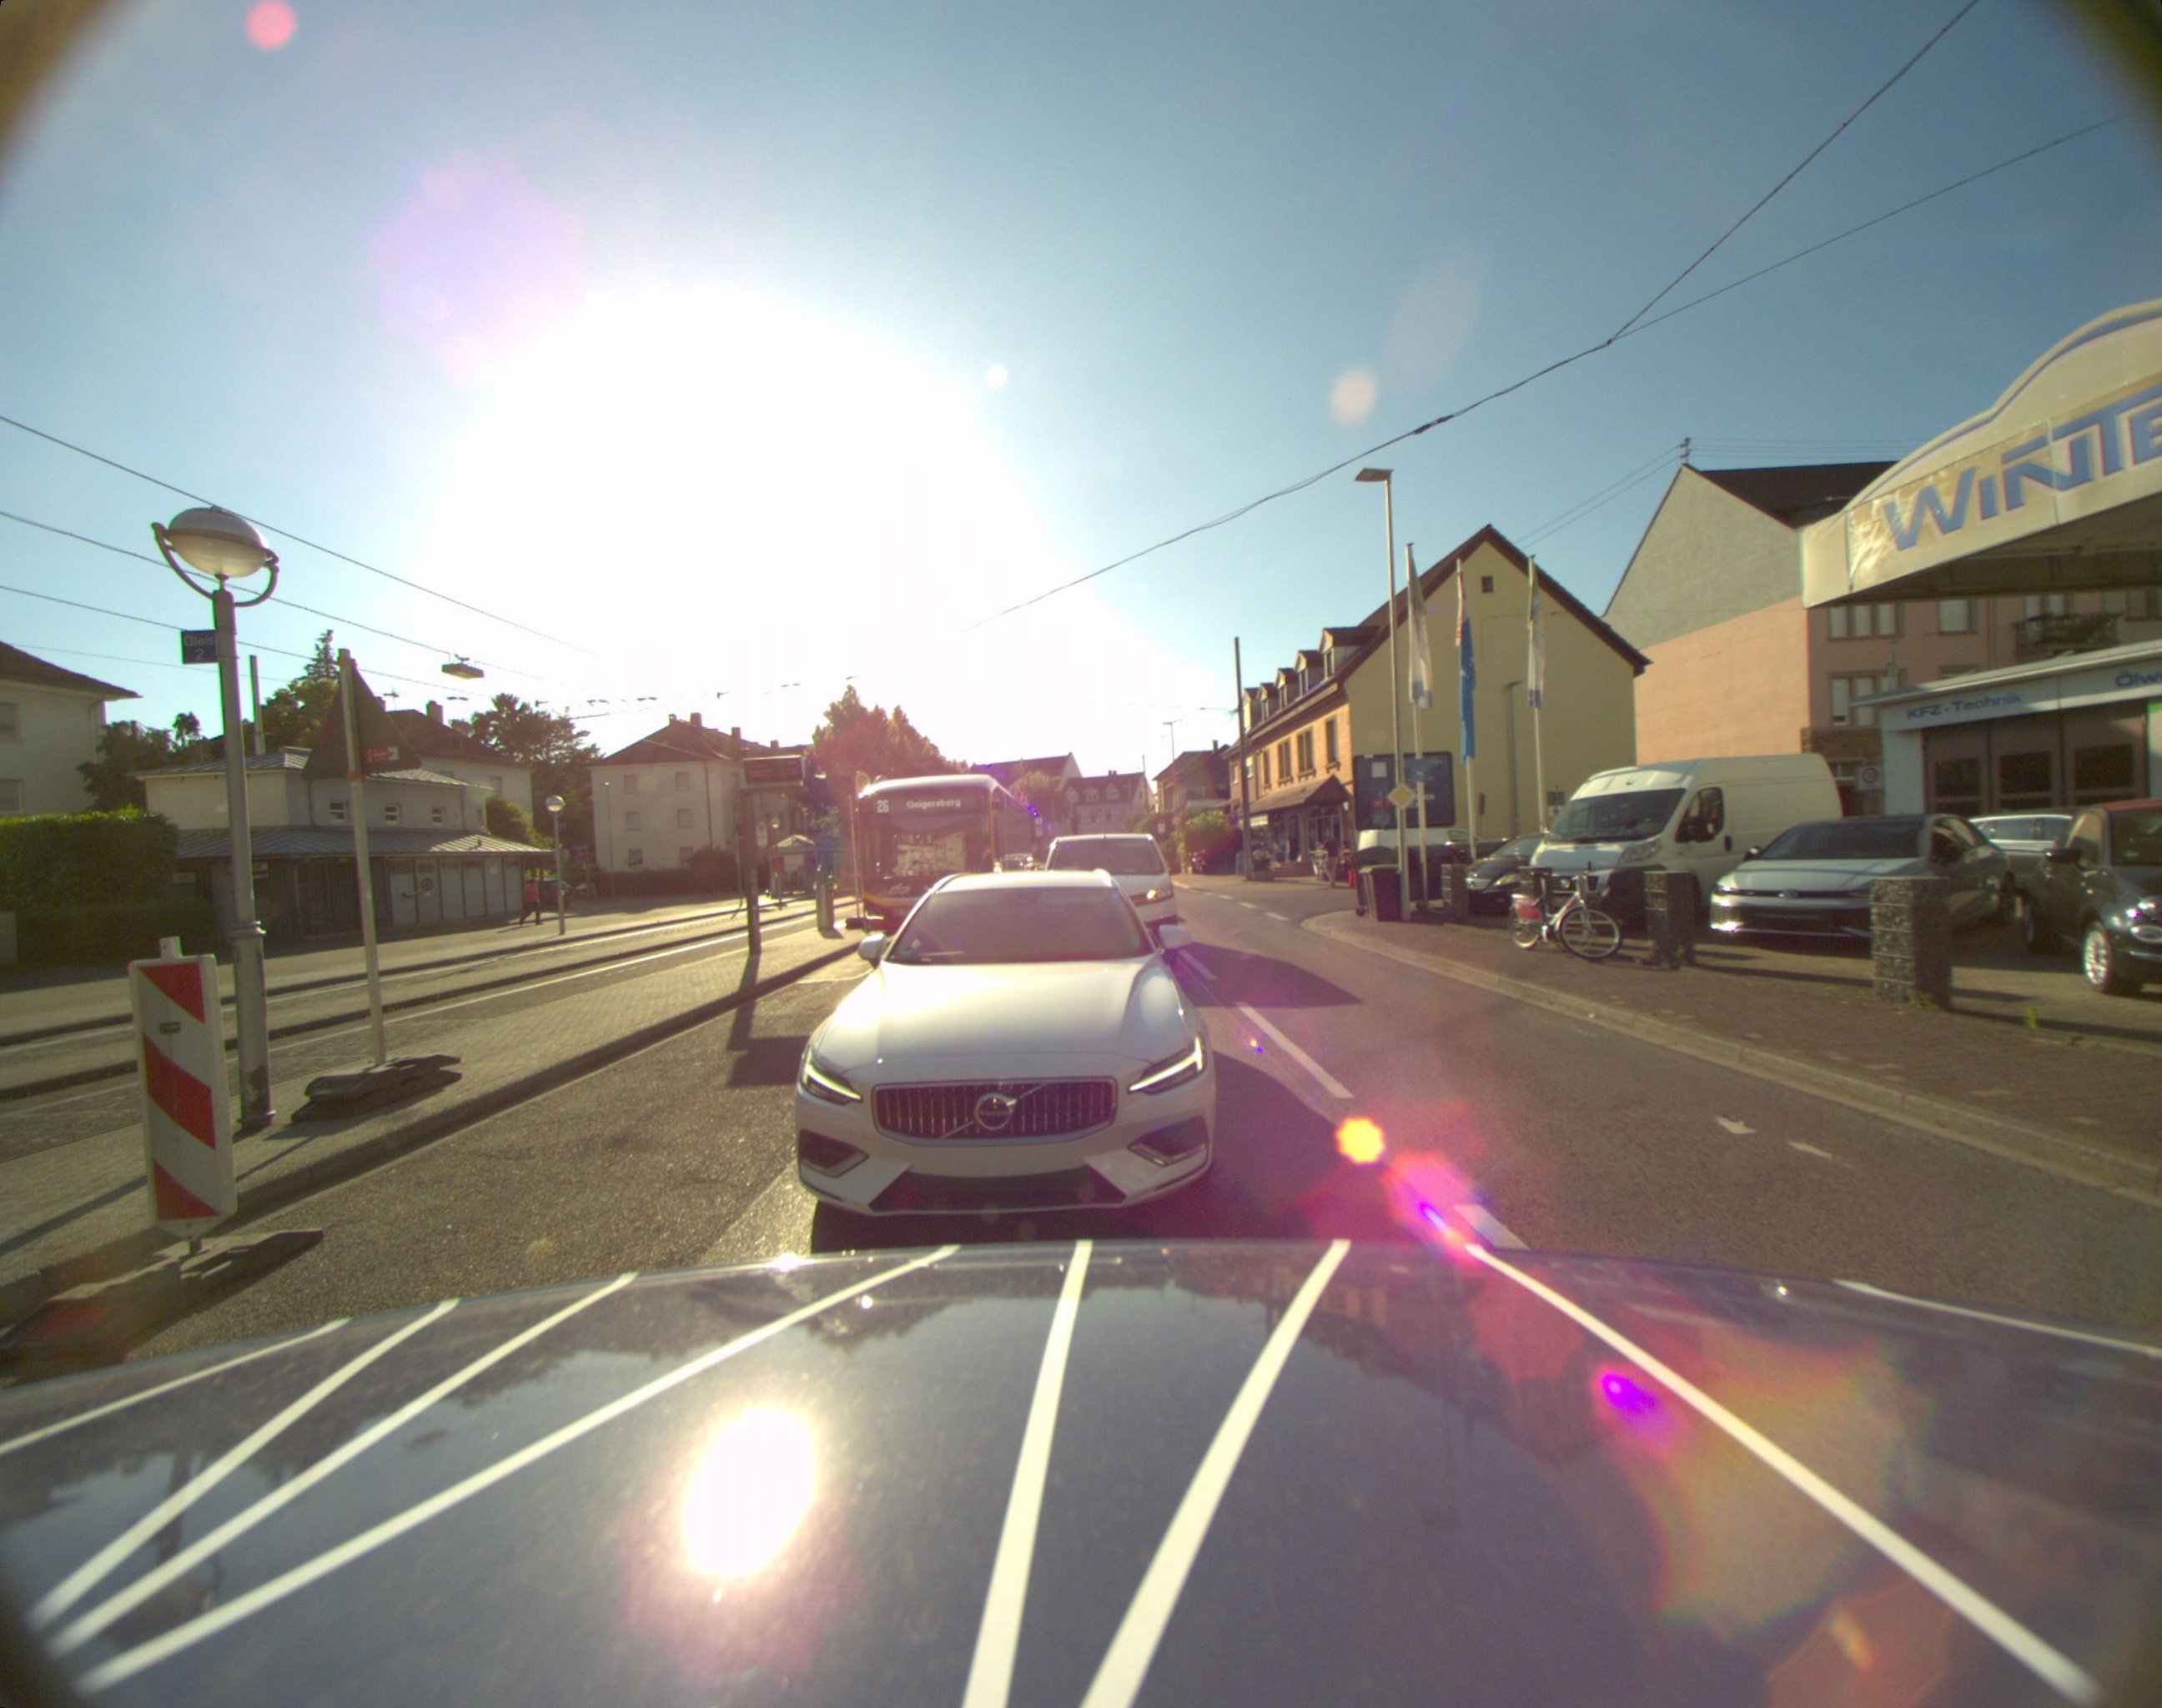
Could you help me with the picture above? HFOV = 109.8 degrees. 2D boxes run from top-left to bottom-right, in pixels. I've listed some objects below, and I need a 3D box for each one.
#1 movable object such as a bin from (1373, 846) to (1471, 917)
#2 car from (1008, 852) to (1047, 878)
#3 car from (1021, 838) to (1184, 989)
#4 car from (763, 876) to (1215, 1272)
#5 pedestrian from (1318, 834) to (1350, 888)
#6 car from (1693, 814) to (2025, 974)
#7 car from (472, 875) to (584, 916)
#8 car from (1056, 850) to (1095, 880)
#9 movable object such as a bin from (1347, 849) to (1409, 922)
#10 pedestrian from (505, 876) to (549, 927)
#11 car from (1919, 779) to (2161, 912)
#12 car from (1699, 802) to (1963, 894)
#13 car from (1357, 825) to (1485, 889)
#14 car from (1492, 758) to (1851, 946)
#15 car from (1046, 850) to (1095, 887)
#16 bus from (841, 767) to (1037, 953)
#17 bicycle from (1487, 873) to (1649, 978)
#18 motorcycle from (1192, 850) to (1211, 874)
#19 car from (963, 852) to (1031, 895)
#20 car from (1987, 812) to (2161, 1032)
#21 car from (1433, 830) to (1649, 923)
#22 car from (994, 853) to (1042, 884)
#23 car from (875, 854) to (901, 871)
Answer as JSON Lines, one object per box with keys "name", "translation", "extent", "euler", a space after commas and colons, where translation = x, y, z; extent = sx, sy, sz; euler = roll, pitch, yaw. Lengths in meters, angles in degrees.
{"name": "movable object such as a bin", "translation": [7.592, 0.578, 16.923], "extent": [1.798, 1.456, 1.046], "euler": [-3, 1, -25]}
{"name": "car", "translation": [-3.274, 0.630, 47.312], "extent": [1.969, 1.450, 4.824], "euler": [-2, 0, 1]}
{"name": "car", "translation": [0.302, 0.734, 12.019], "extent": [1.969, 1.816, 5.033], "euler": [-2, 0, 1]}
{"name": "car", "translation": [-0.353, 0.982, 5.265], "extent": [1.821, 1.446, 4.217], "euler": [-2, 0, 1]}
{"name": "pedestrian", "translation": [8.873, 0.232, 26.697], "extent": [0.822, 1.842, 0.767], "euler": [-2, 1, -1]}
{"name": "car", "translation": [9.489, 0.359, 9.221], "extent": [4.036, 1.488, 1.739], "euler": [-3, 1, -28]}
{"name": "car", "translation": [-27.690, 2.048, 38.146], "extent": [4.052, 1.663, 2.000], "euler": [-4, 1, 2]}
{"name": "car", "translation": [-0.255, 0.565, 41.517], "extent": [1.969, 1.450, 4.824], "euler": [-2, 0, 1]}
{"name": "movable object such as a bin", "translation": [6.235, 0.641, 15.960], "extent": [1.045, 1.456, 0.797], "euler": [-2, 1, 32]}
{"name": "pedestrian", "translation": [-19.491, 1.666, 26.742], "extent": [0.841, 1.708, 0.825], "euler": [-2, 1, 5]}
{"name": "car", "translation": [16.480, -0.174, 11.998], "extent": [1.742, 1.933, 4.257], "euler": [-3, 1, -1]}
{"name": "car", "translation": [16.446, -0.129, 17.016], "extent": [1.742, 1.727, 4.161], "euler": [-3, 1, -1]}
{"name": "car", "translation": [11.563, 0.096, 25.932], "extent": [3.672, 2.002, 1.451], "euler": [-2, 1, -3]}
{"name": "car", "translation": [9.142, -0.135, 11.770], "extent": [4.997, 2.440, 2.111], "euler": [-3, 1, -22]}
{"name": "car", "translation": [-0.394, 0.582, 33.269], "extent": [1.969, 1.450, 4.824], "euler": [-2, 0, 1]}
{"name": "bus", "translation": [-2.921, 0.095, 19.842], "extent": [2.748, 3.284, 12.030], "euler": [-2, 0, 0]}
{"name": "bicycle", "translation": [5.881, 0.814, 9.323], "extent": [0.725, 1.080, 1.791], "euler": [-3, 1, -3]}
{"name": "motorcycle", "translation": [6.350, 0.416, 40.129], "extent": [0.708, 1.210, 2.186], "euler": [-2, 1, 3]}
{"name": "car", "translation": [-3.153, 0.705, 29.509], "extent": [1.969, 1.450, 4.824], "euler": [-2, 0, 1]}
{"name": "car", "translation": [9.076, 0.412, 6.174], "extent": [1.590, 1.488, 3.442], "euler": [-2, 1, 40]}
{"name": "car", "translation": [8.966, 0.373, 14.756], "extent": [4.036, 1.469, 1.739], "euler": [-3, 1, -28]}
{"name": "car", "translation": [-3.231, 0.704, 39.898], "extent": [1.969, 1.450, 4.824], "euler": [-2, 0, 1]}
{"name": "car", "translation": [-23.267, 1.016, 91.780], "extent": [1.998, 1.853, 3.999], "euler": [-2, 1, 1]}
